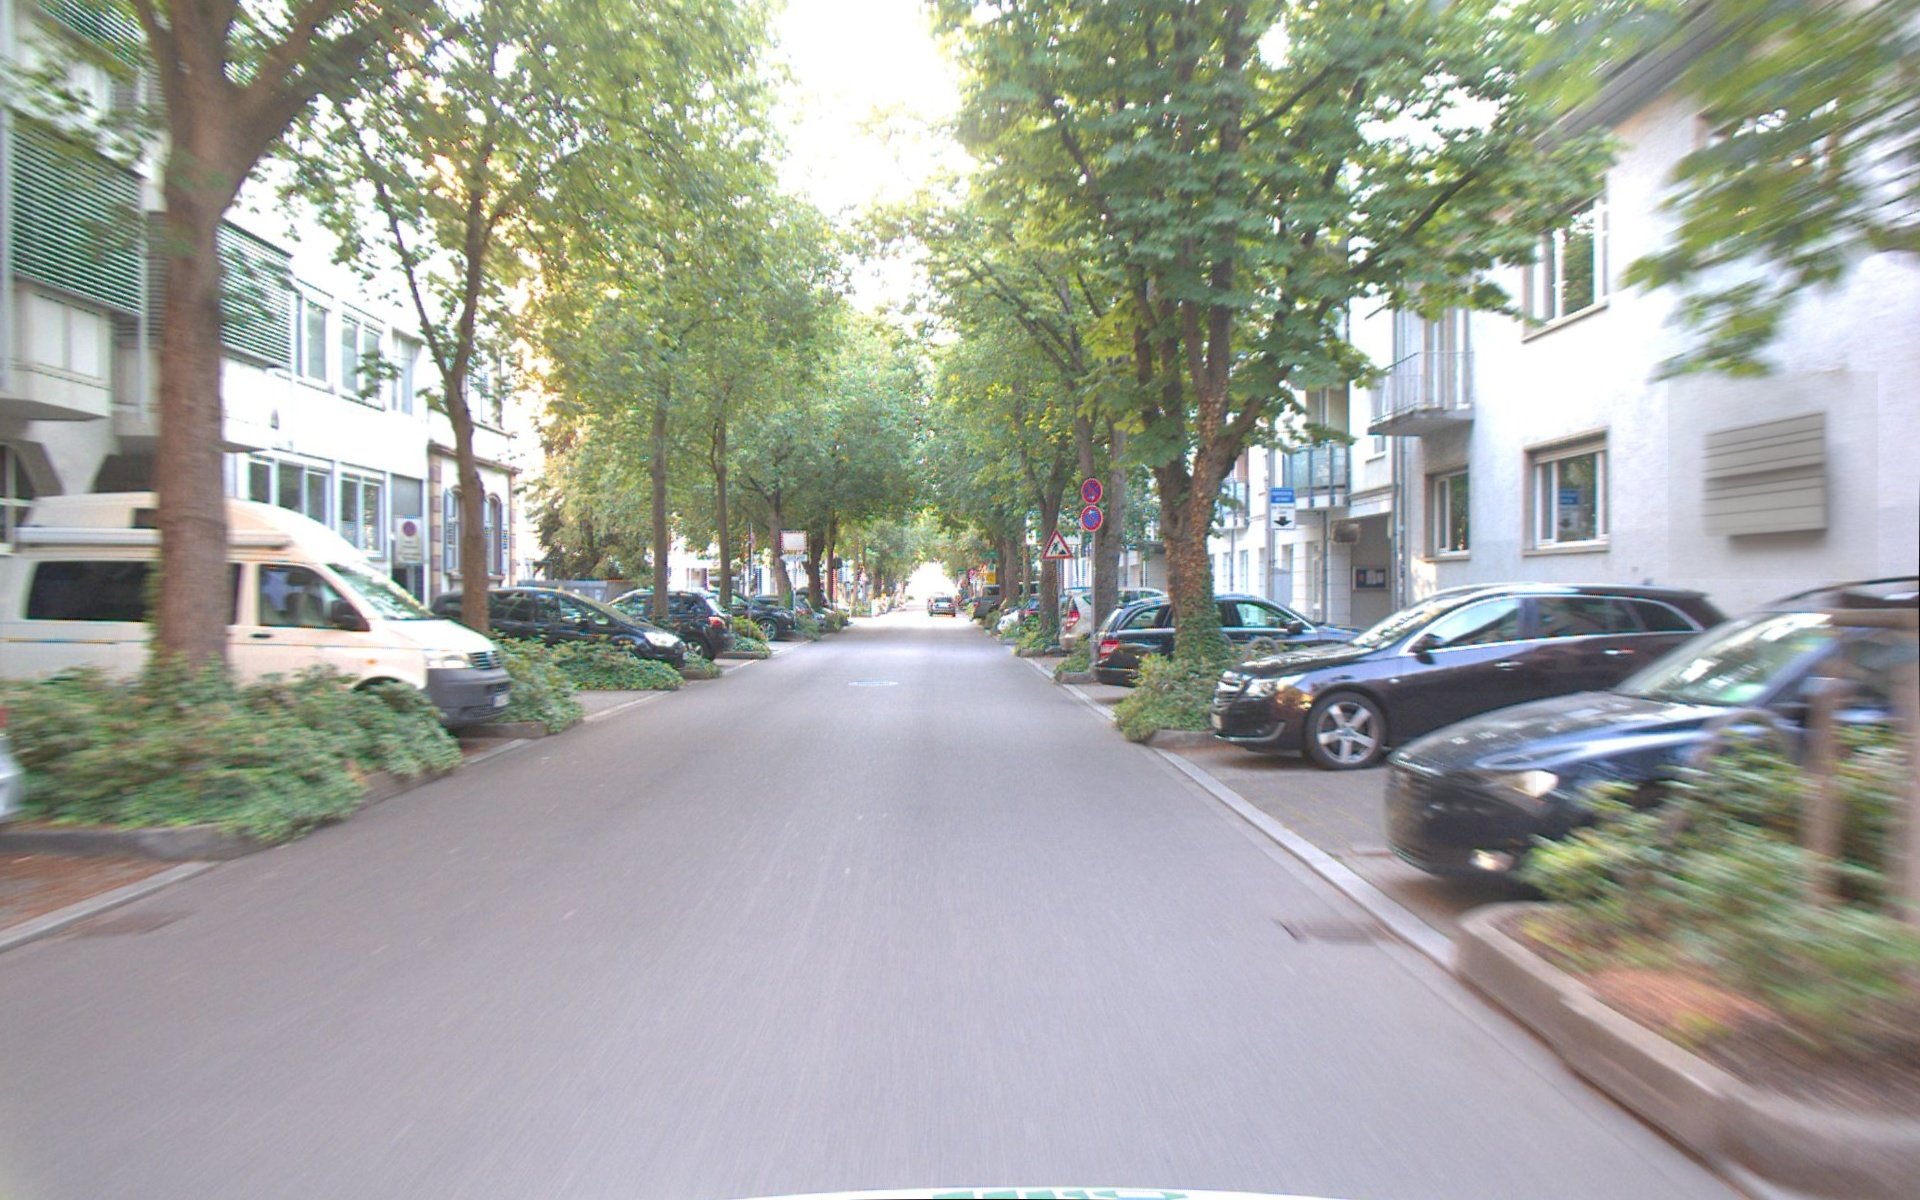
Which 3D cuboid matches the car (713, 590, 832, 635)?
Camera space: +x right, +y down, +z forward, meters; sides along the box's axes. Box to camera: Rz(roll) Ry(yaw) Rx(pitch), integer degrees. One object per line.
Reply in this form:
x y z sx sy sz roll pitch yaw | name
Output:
-7.727 0.511 68.539 4.666 1.658 1.962 -2 0 -1 | car

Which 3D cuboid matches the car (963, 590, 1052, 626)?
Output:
2.280 0.380 79.892 4.182 1.593 1.962 -2 0 -1 | car

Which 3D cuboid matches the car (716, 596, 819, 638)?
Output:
-7.660 0.669 66.063 3.906 1.536 1.800 -2 0 -1 | car

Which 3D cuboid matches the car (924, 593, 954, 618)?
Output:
-1.426 0.367 112.860 1.917 1.593 4.282 -2 0 -1 | car

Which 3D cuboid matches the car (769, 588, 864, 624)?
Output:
-7.277 0.314 84.224 4.666 1.658 1.962 -2 0 -1 | car

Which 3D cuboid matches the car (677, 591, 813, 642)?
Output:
-7.764 0.587 60.083 4.666 1.658 1.962 -2 0 -1 | car

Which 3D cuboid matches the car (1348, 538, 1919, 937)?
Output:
4.453 0.585 8.191 4.620 1.740 1.950 0 1 1 | car

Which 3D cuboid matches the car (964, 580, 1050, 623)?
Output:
2.312 0.068 82.487 4.182 1.996 1.962 -2 0 -1 | car

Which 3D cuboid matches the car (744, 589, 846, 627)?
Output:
-7.881 0.391 79.168 4.666 1.658 1.962 -2 0 -1 | car

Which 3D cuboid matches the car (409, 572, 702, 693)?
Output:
-6.984 0.540 28.906 4.587 1.886 1.962 -2 0 -1 | car

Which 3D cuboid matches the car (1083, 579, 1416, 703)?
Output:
4.013 0.559 23.577 4.414 1.548 1.996 -2 0 2 | car

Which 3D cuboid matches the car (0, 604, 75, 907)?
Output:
-6.725 0.768 8.118 3.791 1.512 1.757 1 0 1 | car

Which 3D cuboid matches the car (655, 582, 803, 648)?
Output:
-7.729 0.496 55.762 4.666 2.019 1.962 -2 0 -1 | car

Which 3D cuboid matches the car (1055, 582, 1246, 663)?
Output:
4.168 0.488 36.692 3.968 1.625 1.824 -2 0 -1 | car

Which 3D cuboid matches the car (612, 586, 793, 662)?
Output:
-6.845 0.618 44.326 4.502 1.839 1.962 -2 0 -1 | car

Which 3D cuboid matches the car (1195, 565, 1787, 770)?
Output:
4.549 0.553 14.676 4.587 1.548 1.962 -2 0 -1 | car

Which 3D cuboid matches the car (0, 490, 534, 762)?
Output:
-6.787 0.244 16.446 4.587 2.521 2.000 0 0 -1 | car

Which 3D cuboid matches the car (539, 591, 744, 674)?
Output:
-6.984 0.697 36.629 4.118 1.664 1.962 -2 0 -1 | car

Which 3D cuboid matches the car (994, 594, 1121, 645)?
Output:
3.305 0.654 56.694 4.182 1.593 1.962 -2 0 -1 | car

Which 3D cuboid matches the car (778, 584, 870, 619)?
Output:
-7.147 0.093 87.106 4.666 1.658 1.962 -2 0 -1 | car
